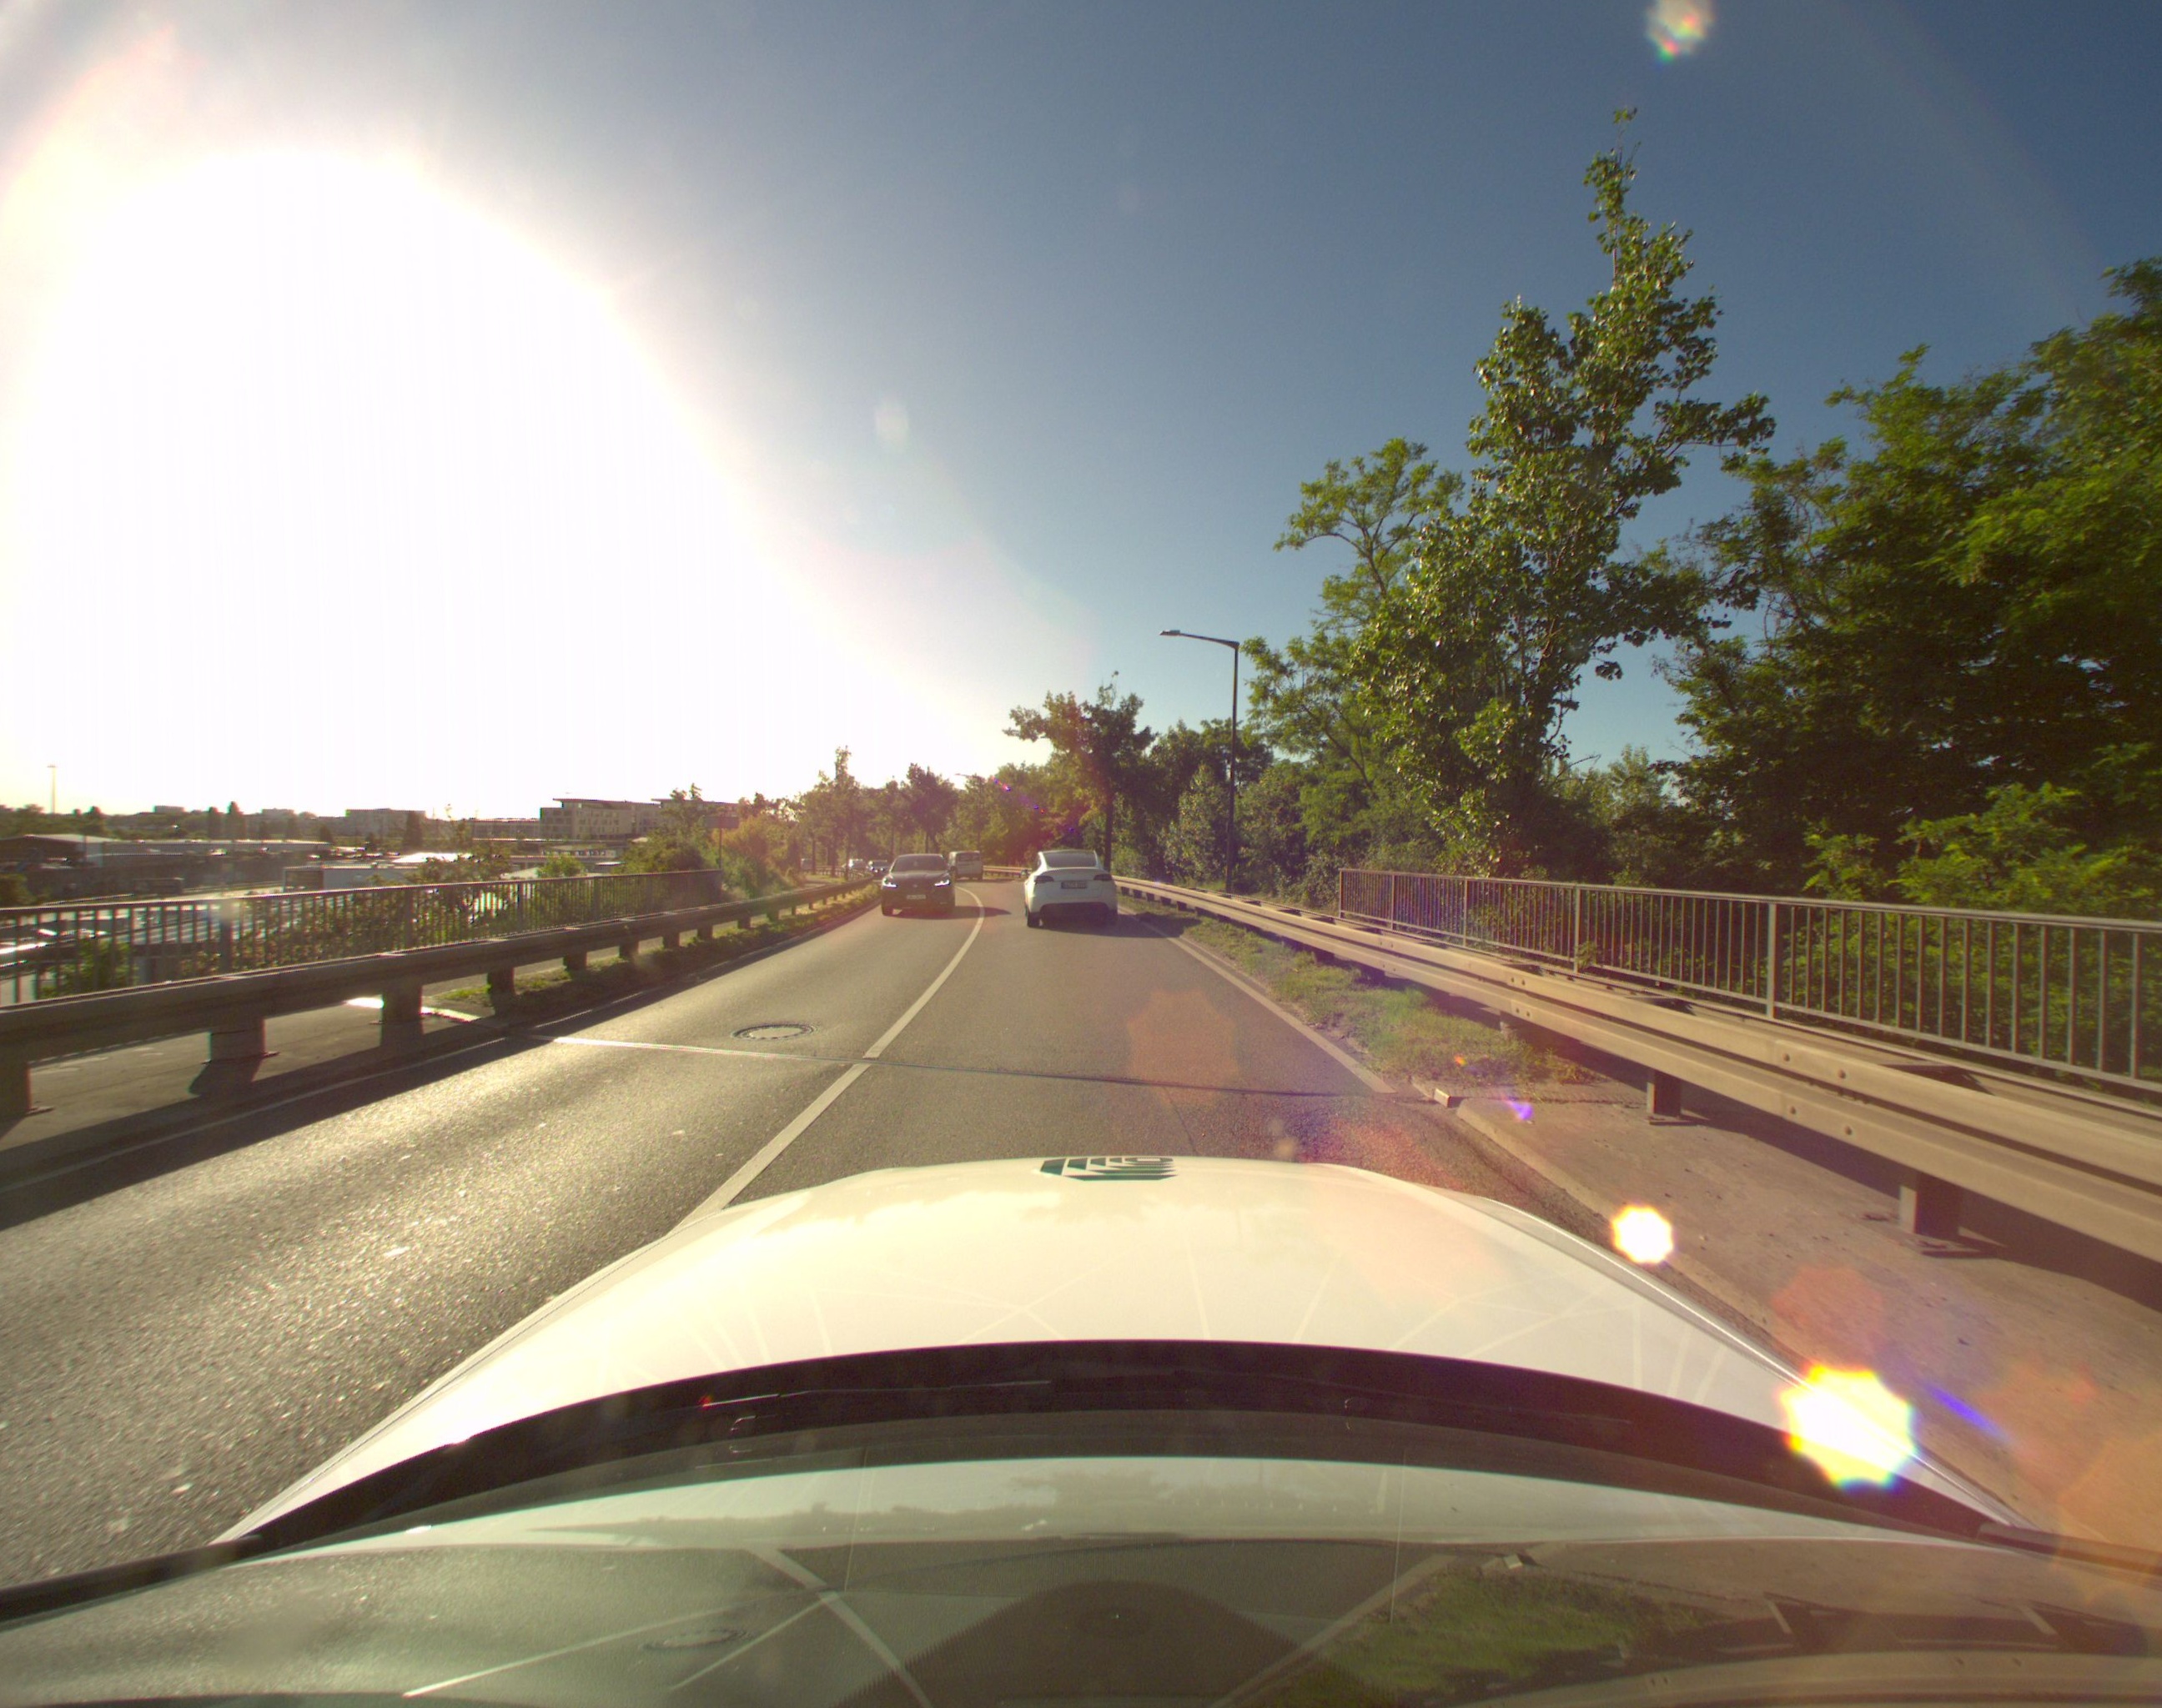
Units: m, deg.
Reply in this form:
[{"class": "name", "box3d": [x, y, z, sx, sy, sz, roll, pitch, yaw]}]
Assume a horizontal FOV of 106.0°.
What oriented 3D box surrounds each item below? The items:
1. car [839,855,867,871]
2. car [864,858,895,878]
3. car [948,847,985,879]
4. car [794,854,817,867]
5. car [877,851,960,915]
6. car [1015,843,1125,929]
[{"class": "car", "box3d": [-24.324, 0.958, 86.902, 1.872, 1.585, 3.875, -1, 0, -32]}, {"class": "car", "box3d": [-15.427, 1.025, 62.226, 1.799, 1.431, 3.799, -1, 0, -21]}, {"class": "car", "box3d": [-7.449, 0.558, 52.540, 2.007, 1.940, 4.448, -1, 0, -13]}, {"class": "car", "box3d": [-35.843, 0.809, 105.879, 1.848, 1.555, 3.853, -1, 0, -33]}, {"class": "car", "box3d": [-4.589, 0.751, 23.645, 1.896, 1.642, 4.454, -1, 0, -6]}, {"class": "car", "box3d": [-0.372, 0.628, 18.359, 1.984, 1.637, 4.052, -2, 0, -7]}]
